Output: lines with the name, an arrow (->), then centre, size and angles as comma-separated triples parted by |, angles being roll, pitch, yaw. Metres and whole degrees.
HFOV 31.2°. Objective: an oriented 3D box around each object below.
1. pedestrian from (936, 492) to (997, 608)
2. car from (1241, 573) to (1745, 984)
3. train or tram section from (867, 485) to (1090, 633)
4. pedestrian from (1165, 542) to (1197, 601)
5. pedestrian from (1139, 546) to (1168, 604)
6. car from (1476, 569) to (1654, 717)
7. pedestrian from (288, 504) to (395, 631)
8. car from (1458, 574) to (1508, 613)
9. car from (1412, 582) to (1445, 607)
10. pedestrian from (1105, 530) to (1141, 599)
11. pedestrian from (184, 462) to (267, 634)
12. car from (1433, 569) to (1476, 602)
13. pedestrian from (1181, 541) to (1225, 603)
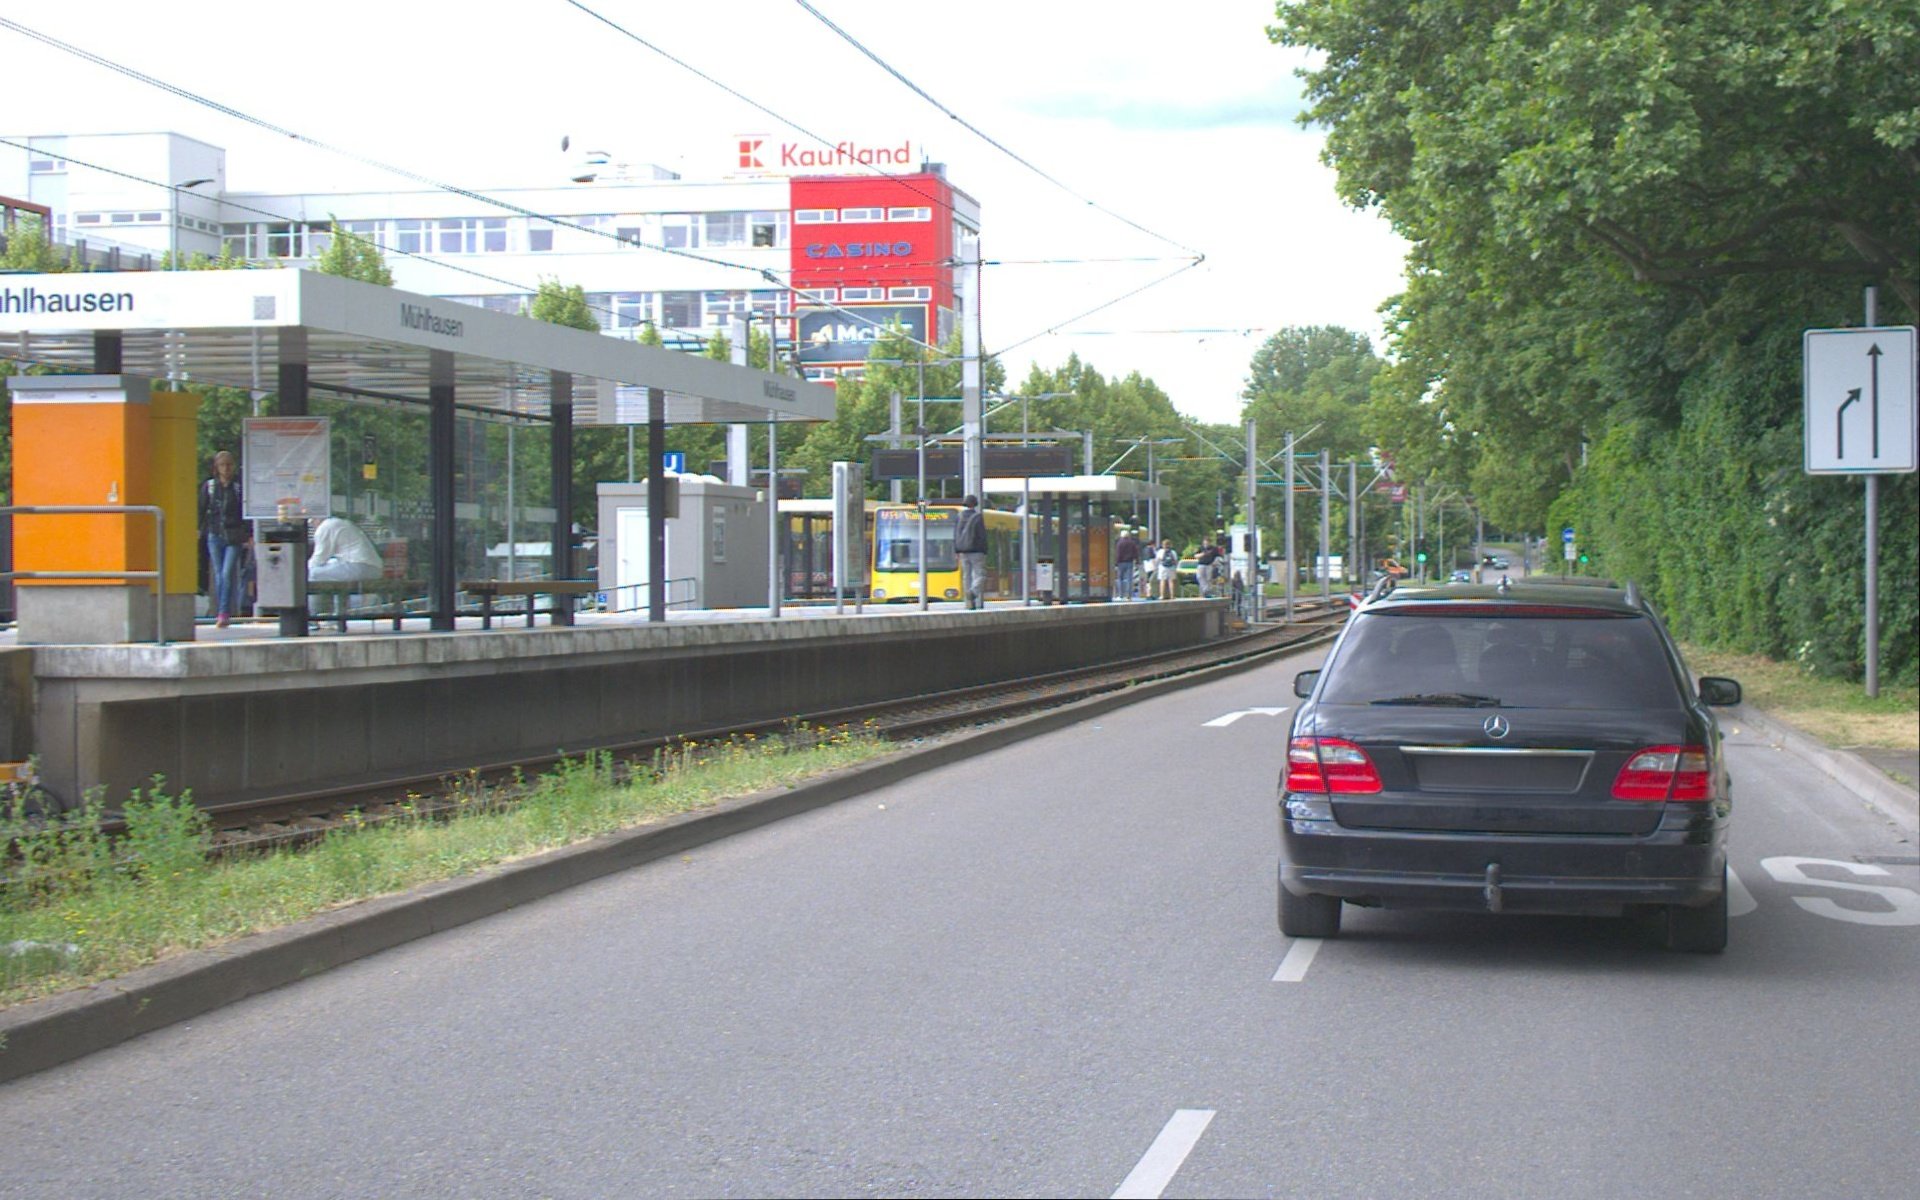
pedestrian -> 0.103, -0.754, 52.377 | 0.749, 1.738, 0.936 | -1, 0, 10
car -> 2.424, 0.633, 14.922 | 1.834, 1.473, 4.413 | 1, 1, 12
train or tram section -> 0.822, -1.153, 99.801 | 2.758, 3.869, 18.621 | 0, 0, 12
pedestrian -> 5.623, -0.734, 87.489 | 0.580, 1.477, 0.520 | -1, -1, -42
pedestrian -> 4.991, -0.643, 88.798 | 0.475, 1.478, 0.542 | -1, 0, -32
car -> 6.718, 0.435, 38.454 | 1.826, 1.525, 4.414 | 1, 1, 9
pedestrian -> -5.851, -0.300, 32.553 | 0.770, 1.185, 0.728 | 0, 0, 13
car -> 21.501, -0.283, 141.118 | 1.826, 1.525, 4.413 | 1, 1, 11
car -> 29.830, -0.349, 218.890 | 1.826, 1.525, 3.925 | 1, 1, 11
pedestrian -> 4.000, -0.869, 84.238 | 0.771, 1.672, 0.790 | -1, 0, 9
pedestrian -> -7.000, -0.493, 32.786 | 0.570, 1.615, 0.586 | -1, 0, 10
car -> 23.693, -0.704, 164.746 | 1.826, 1.525, 3.925 | -1, 0, 11
pedestrian -> 6.611, -0.756, 93.604 | 0.873, 1.672, 0.745 | -1, 0, -37
